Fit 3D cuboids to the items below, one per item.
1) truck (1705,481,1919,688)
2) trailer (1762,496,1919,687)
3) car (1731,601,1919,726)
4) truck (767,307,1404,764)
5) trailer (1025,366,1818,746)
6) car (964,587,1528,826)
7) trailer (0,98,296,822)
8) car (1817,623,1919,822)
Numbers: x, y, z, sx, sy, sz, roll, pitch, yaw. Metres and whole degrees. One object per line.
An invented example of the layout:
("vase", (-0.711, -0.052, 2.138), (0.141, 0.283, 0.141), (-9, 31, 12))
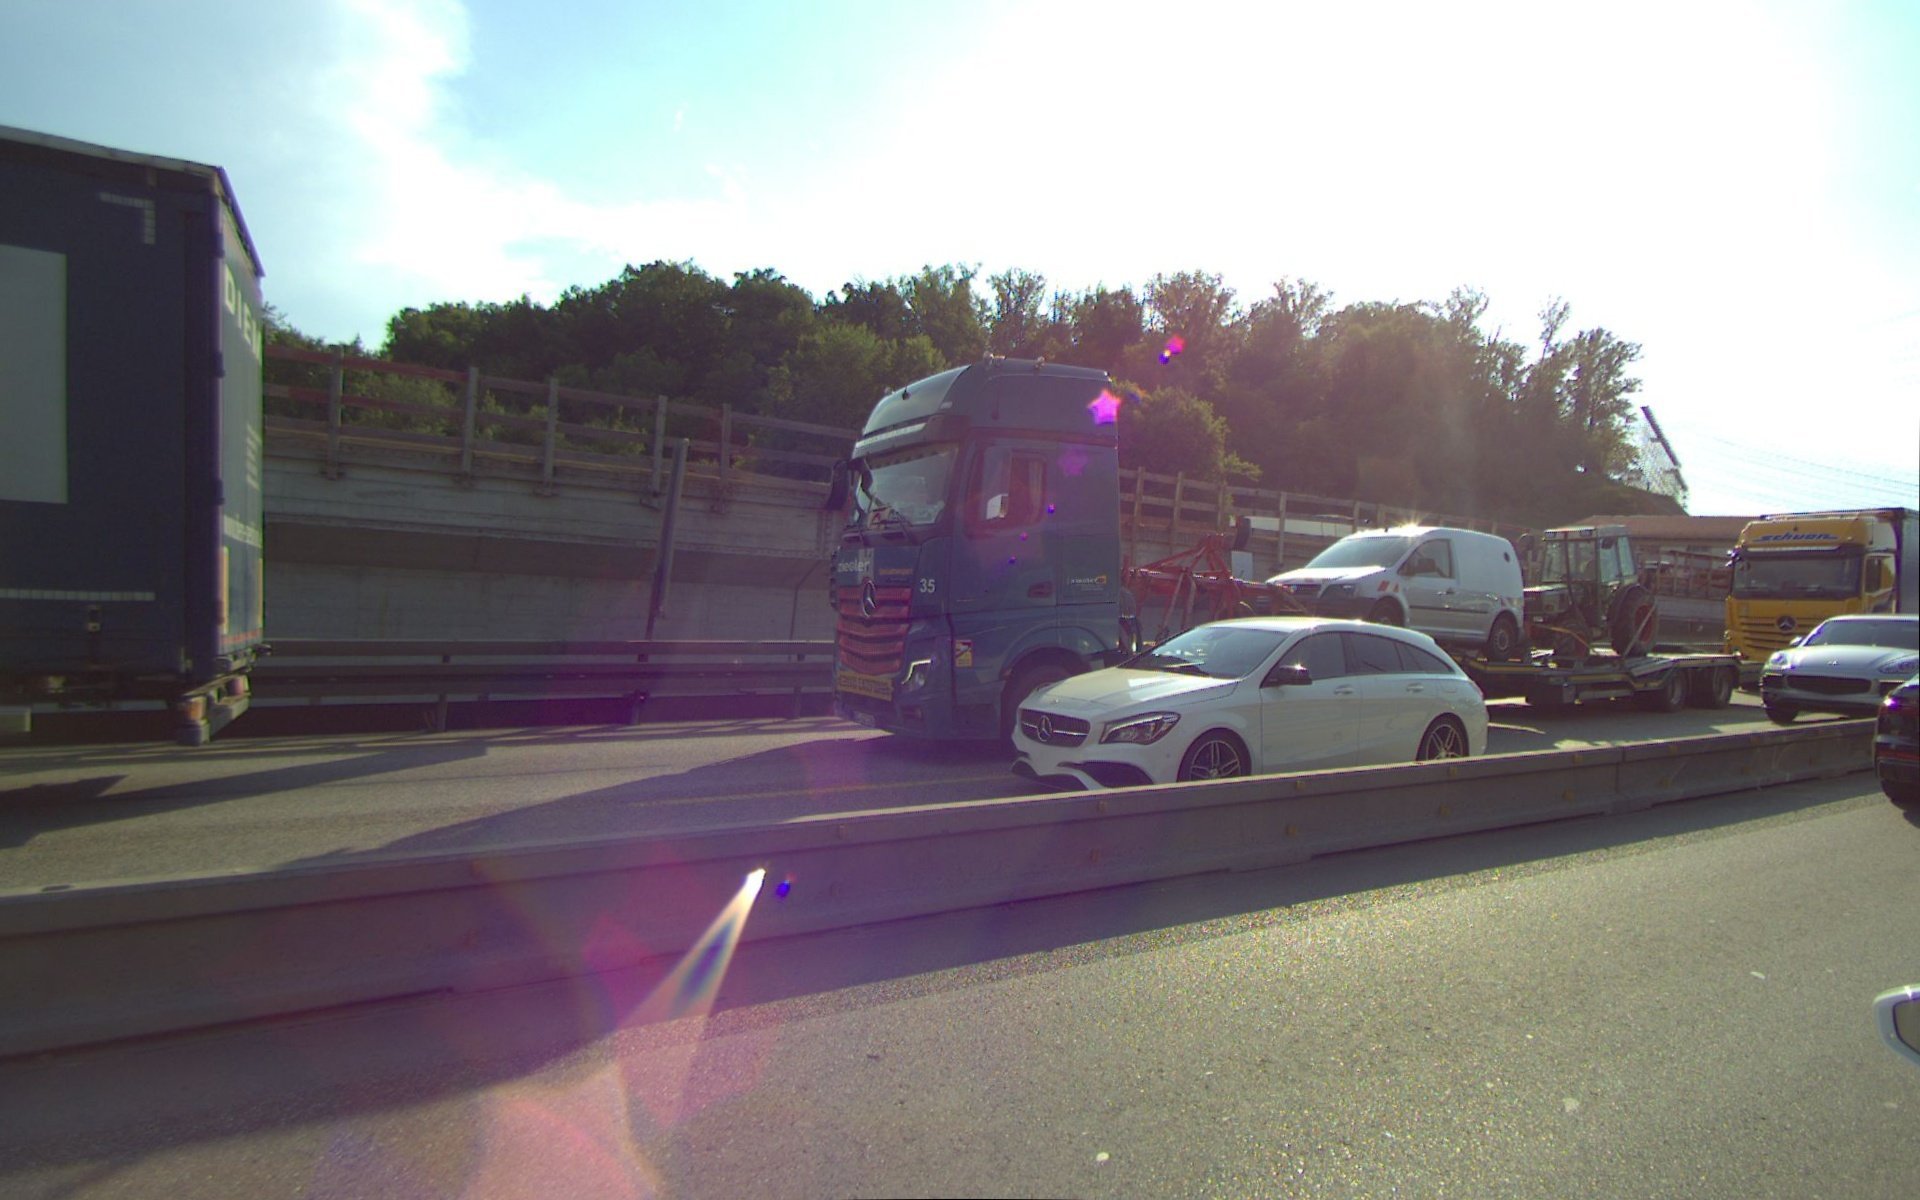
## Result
("truck", (19.931, -0.214, 23.037), (5.732, 4.195, 2.686), (2, -1, -33))
("trailer", (27.154, 0.131, 27.698), (16.571, 4.189, 2.699), (3, -1, -33))
("car", (14.172, 0.949, 15.601), (4.795, 1.666, 1.949), (3, -1, -32))
("truck", (1.649, -0.430, 11.467), (7.030, 3.856, 2.735), (2, -2, -31))
("trailer", (8.306, -0.204, 15.519), (15.864, 3.866, 2.735), (2, -2, -31))
("car", (2.538, 0.786, 8.488), (4.760, 1.541, 1.795), (2, -2, -30))
("trailer", (-10.492, -0.942, 4.427), (12.347, 4.177, 2.702), (2, -2, -31))
("car", (9.678, 1.013, 8.633), (5.160, 1.500, 1.931), (2, -1, -30))
